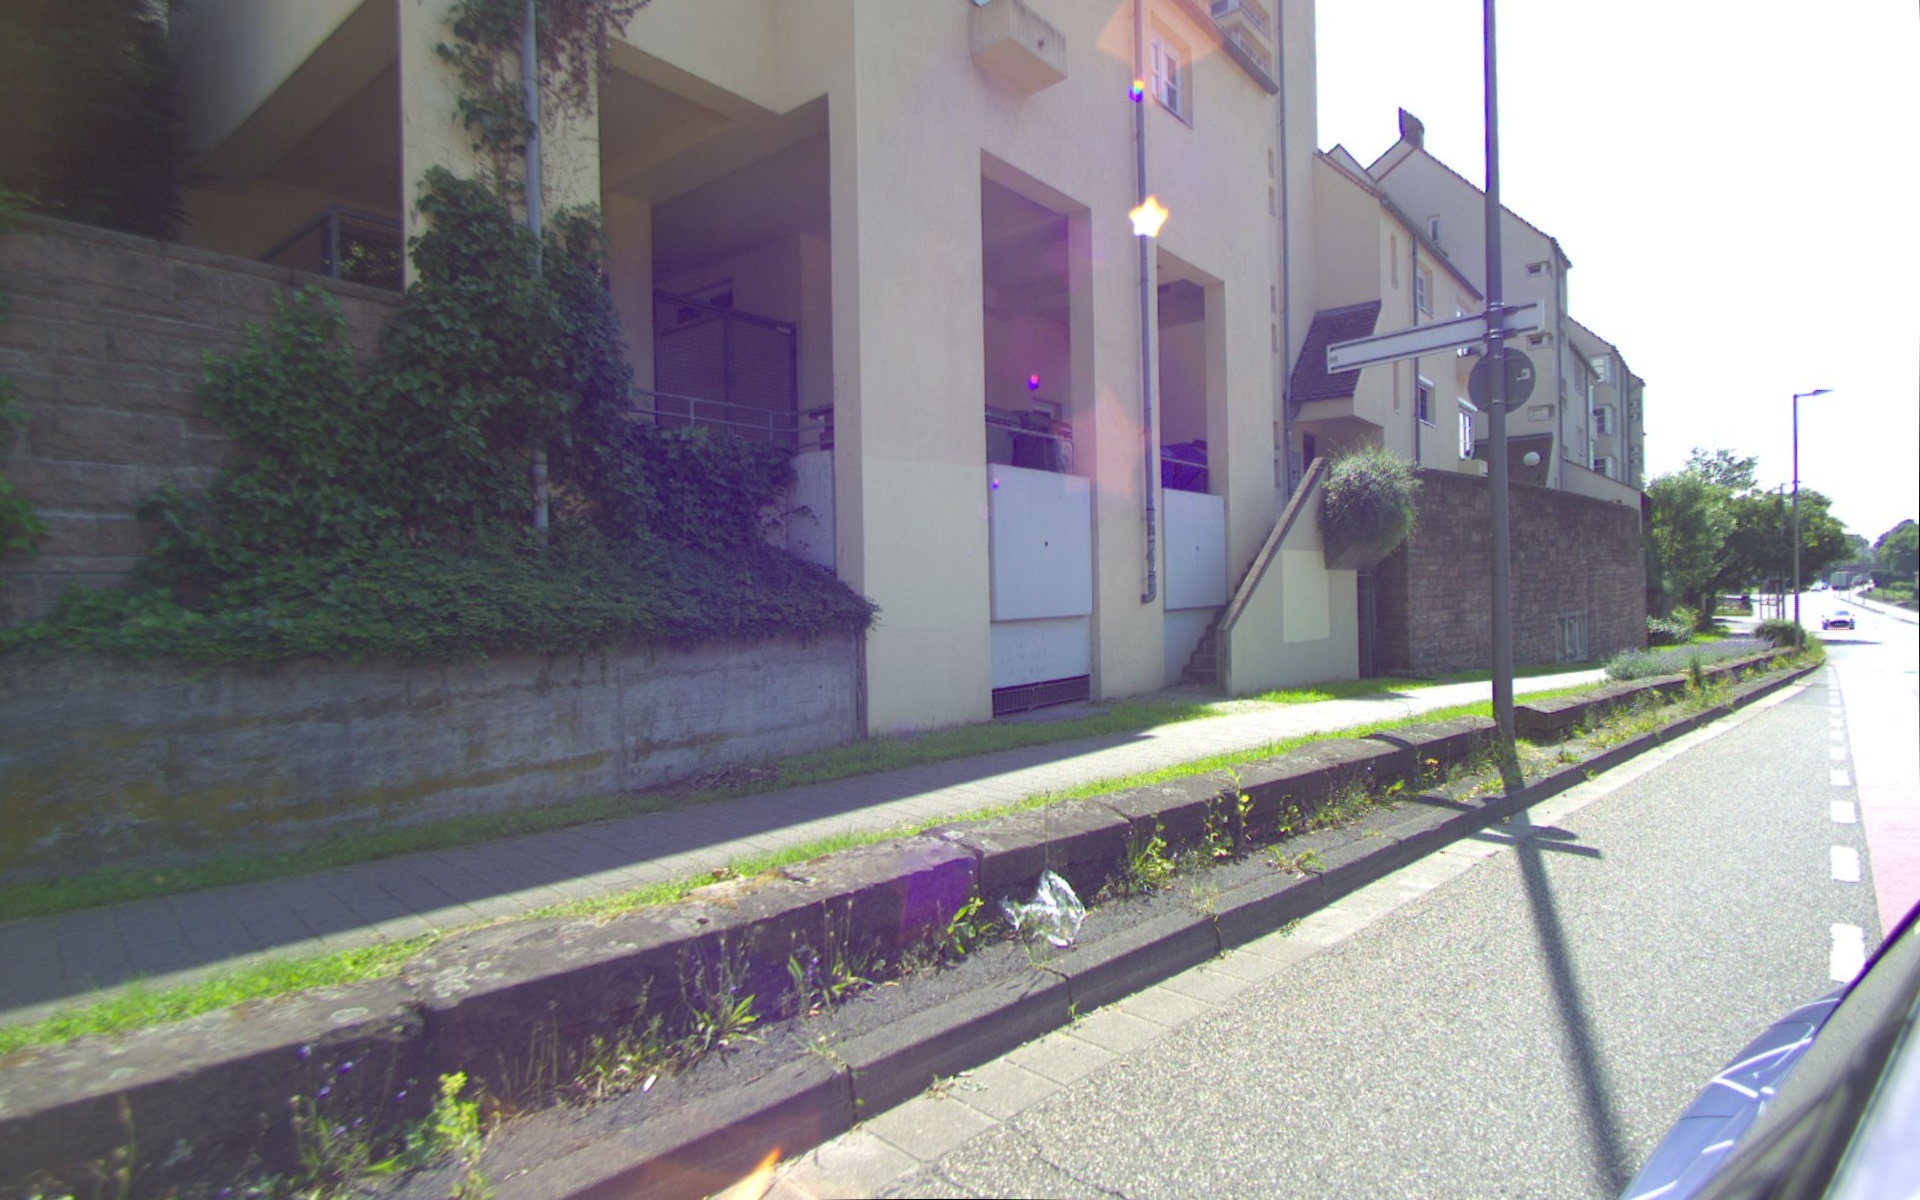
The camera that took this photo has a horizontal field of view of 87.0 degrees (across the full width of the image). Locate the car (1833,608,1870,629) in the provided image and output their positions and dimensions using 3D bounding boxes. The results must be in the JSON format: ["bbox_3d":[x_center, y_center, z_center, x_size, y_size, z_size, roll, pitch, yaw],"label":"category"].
[{"bbox_3d":[64.557,1.321,73.330,1.992,1.460,3.940,1,0,41],"label":"car"}]
